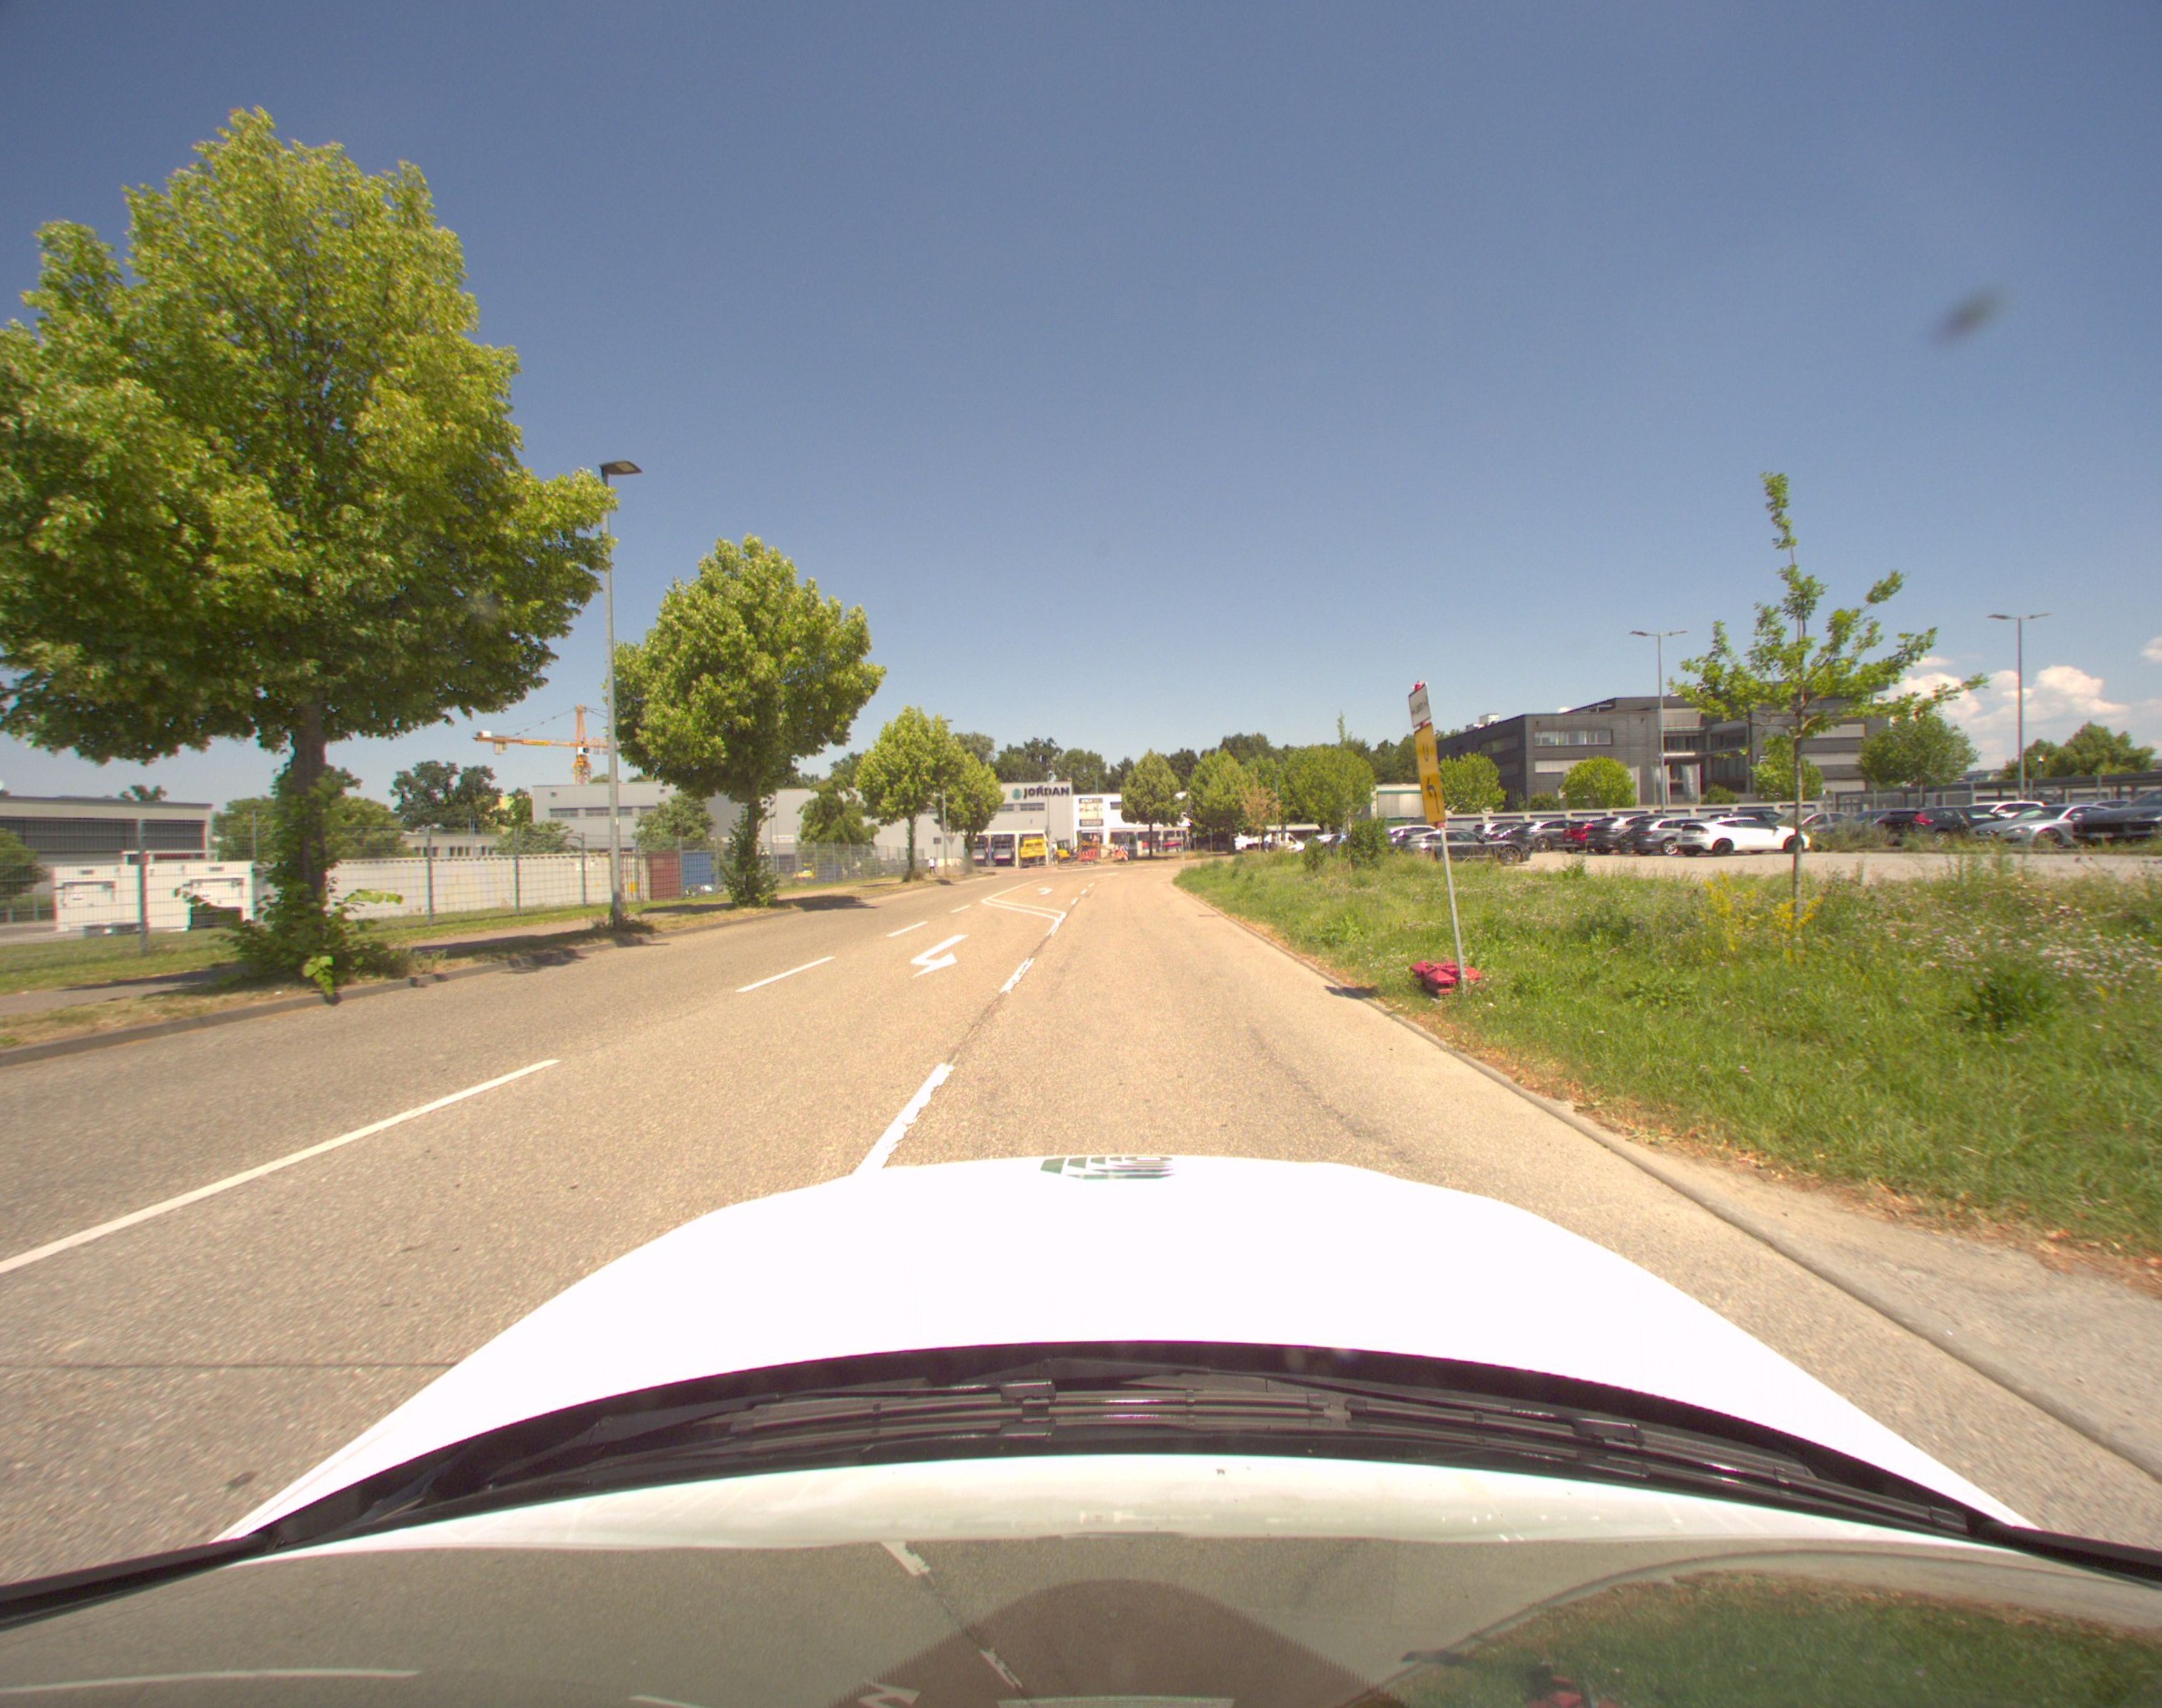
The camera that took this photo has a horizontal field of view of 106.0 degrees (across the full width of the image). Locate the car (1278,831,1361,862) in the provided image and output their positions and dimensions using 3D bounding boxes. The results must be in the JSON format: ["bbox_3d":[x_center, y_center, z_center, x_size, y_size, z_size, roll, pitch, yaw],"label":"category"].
[{"bbox_3d":[13.429,-0.424,45.944,4.151,1.400,1.768,-3,4,-2],"label":"car"}]

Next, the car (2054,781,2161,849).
[{"bbox_3d":[28.626,-1.093,21.454,3.976,1.595,1.768,-3,4,-2],"label":"car"}]

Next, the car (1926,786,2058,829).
[{"bbox_3d":[40.095,-2.066,35.909,3.976,1.595,1.768,-3,4,-2],"label":"car"}]

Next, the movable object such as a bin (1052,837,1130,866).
[{"bbox_3d":[1.087,-0.294,84.825,7.480,2.499,3.678,-3,4,10],"label":"movable object such as a bin"}]

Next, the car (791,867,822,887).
[{"bbox_3d":[-27.848,2.329,82.805,1.990,1.551,3.995,-4,4,-5],"label":"car"}]

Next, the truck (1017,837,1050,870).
[{"bbox_3d":[-5.004,-0.141,84.457,2.935,2.885,5.798,-4,4,-6],"label":"truck"}]

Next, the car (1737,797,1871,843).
[{"bbox_3d":[29.450,-1.412,33.242,3.976,1.595,1.768,-3,4,-2],"label":"car"}]

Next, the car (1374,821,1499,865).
[{"bbox_3d":[13.890,-0.442,31.965,4.151,1.400,1.768,-3,4,-2],"label":"car"}]

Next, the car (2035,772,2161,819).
[{"bbox_3d":[40.312,-2.314,31.891,3.976,1.595,1.768,-3,4,-2],"label":"car"}]

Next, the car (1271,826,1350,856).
[{"bbox_3d":[13.522,-0.788,48.063,4.151,1.400,1.768,-3,4,-2],"label":"car"}]

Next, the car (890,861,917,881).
[{"bbox_3d":[-18.178,1.732,83.549,1.990,1.551,3.995,-4,4,-5],"label":"car"}]

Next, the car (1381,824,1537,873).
[{"bbox_3d":[13.490,-0.236,29.270,4.683,1.400,1.924,-3,4,4],"label":"car"}]

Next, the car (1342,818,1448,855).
[{"bbox_3d":[14.293,-0.822,37.215,4.151,1.400,1.768,-3,4,-2],"label":"car"}]

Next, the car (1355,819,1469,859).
[{"bbox_3d":[14.113,-0.650,34.832,4.151,1.400,1.768,-3,4,-2],"label":"car"}]

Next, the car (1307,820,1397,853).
[{"bbox_3d":[14.270,-0.953,43.010,4.151,1.400,1.768,-3,4,-2],"label":"car"}]

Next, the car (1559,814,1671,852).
[{"bbox_3d":[24.210,-0.980,36.986,3.976,1.461,1.768,-3,4,-2],"label":"car"}]

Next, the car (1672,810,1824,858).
[{"bbox_3d":[23.618,-0.750,28.930,3.975,1.400,1.769,-3,4,-1],"label":"car"}]

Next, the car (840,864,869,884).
[{"bbox_3d":[-23.139,2.025,83.324,1.990,1.551,3.995,-4,4,-5],"label":"car"}]

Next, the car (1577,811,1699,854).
[{"bbox_3d":[23.346,-0.926,34.216,3.976,1.489,1.768,-3,4,-2],"label":"car"}]

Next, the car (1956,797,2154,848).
[{"bbox_3d":[29.204,-0.975,24.508,3.976,1.271,1.768,-3,4,-2],"label":"car"}]

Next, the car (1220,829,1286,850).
[{"bbox_3d":[19.546,-1.622,92.741,7.138,2.088,2.003,-3,0,5],"label":"car"}]

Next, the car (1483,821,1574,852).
[{"bbox_3d":[24.173,-0.963,44.059,3.976,1.400,1.768,-3,4,-2],"label":"car"}]

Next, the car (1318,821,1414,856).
[{"bbox_3d":[14.110,-0.777,40.441,4.151,1.400,1.768,-3,4,-2],"label":"car"}]

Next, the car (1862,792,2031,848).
[{"bbox_3d":[29.222,-1.178,27.583,3.976,1.595,1.768,-3,4,-2],"label":"car"}]

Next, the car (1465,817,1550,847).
[{"bbox_3d":[24.422,-1.287,46.674,3.976,1.400,1.768,-3,4,-2],"label":"car"}]

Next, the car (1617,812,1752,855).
[{"bbox_3d":[23.360,-0.817,31.619,3.976,1.400,1.768,-3,4,-2],"label":"car"}]

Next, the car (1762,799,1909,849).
[{"bbox_3d":[28.306,-1.157,30.616,3.976,1.595,1.768,-3,4,-2],"label":"car"}]

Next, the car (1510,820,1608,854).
[{"bbox_3d":[24.133,-0.896,41.199,3.976,1.400,1.768,-3,4,-2],"label":"car"}]
